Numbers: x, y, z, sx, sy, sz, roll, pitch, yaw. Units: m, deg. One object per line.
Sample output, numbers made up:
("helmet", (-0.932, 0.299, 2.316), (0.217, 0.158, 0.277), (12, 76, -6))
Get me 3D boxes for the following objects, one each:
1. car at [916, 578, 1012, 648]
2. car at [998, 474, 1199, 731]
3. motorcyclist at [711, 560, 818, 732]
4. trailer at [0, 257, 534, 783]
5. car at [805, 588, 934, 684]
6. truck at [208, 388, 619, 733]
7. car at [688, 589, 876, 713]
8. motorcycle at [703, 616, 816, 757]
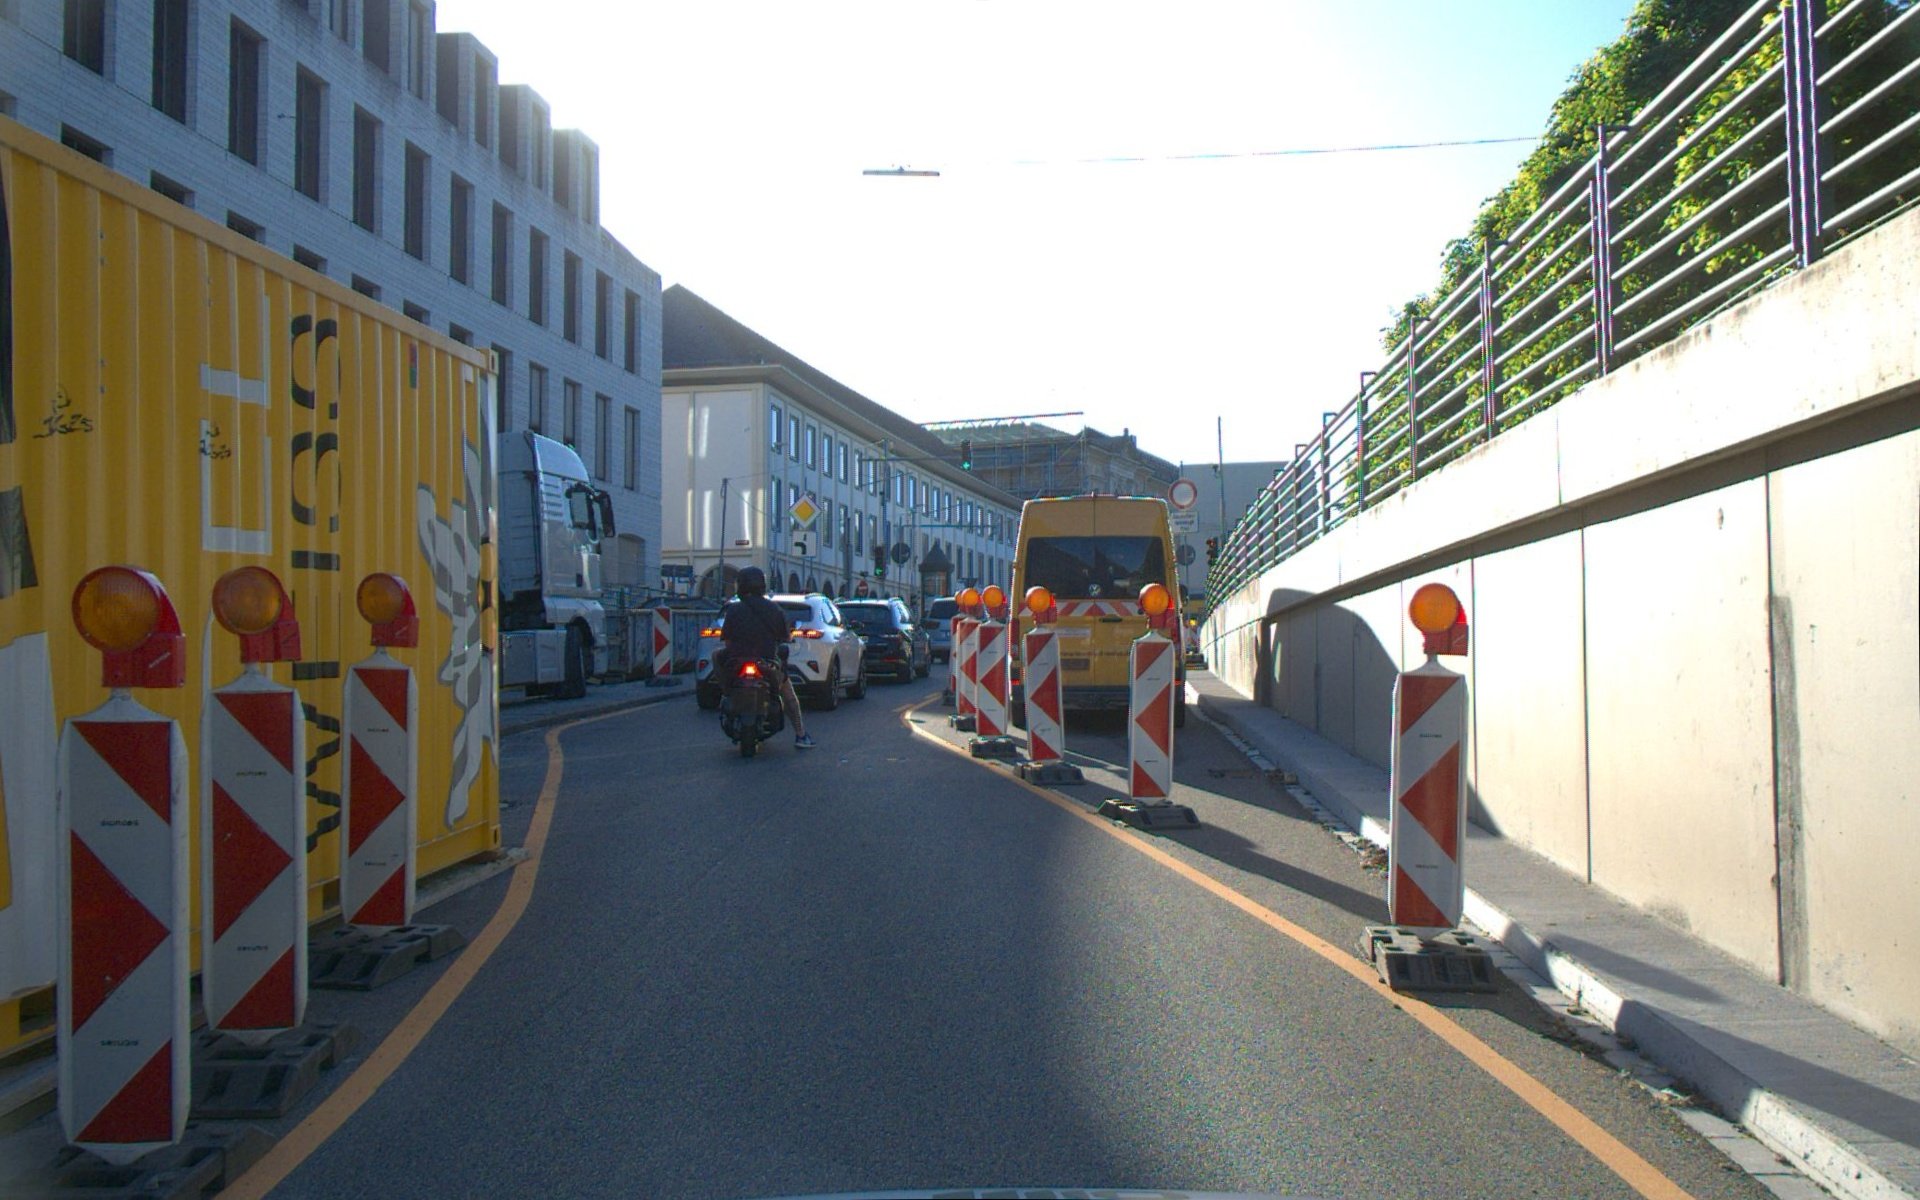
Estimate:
("car", (0.161, 0.326, 43.446), (1.765, 1.751, 4.166), (0, 0, 11))
("car", (1.787, 0.052, 20.771), (2.067, 2.670, 6.991), (-1, 0, 6))
("motorcyclist", (-1.859, 0.420, 15.912), (0.935, 1.587, 1.238), (0, 0, -3))
("trailer", (-7.059, -0.505, 16.377), (2.587, 3.732, 8.753), (-4, 0, 4))
("car", (-1.542, 0.675, 29.696), (1.736, 1.578, 4.108), (-1, -2, 5))
("truck", (-6.545, -0.416, 20.829), (2.525, 3.550, 5.820), (-4, -1, 6))
("car", (-2.318, 0.617, 22.606), (1.820, 1.498, 4.002), (1, 1, 5))
("motorcycle", (-1.888, 0.780, 15.974), (0.887, 1.204, 2.577), (0, 0, -3))
